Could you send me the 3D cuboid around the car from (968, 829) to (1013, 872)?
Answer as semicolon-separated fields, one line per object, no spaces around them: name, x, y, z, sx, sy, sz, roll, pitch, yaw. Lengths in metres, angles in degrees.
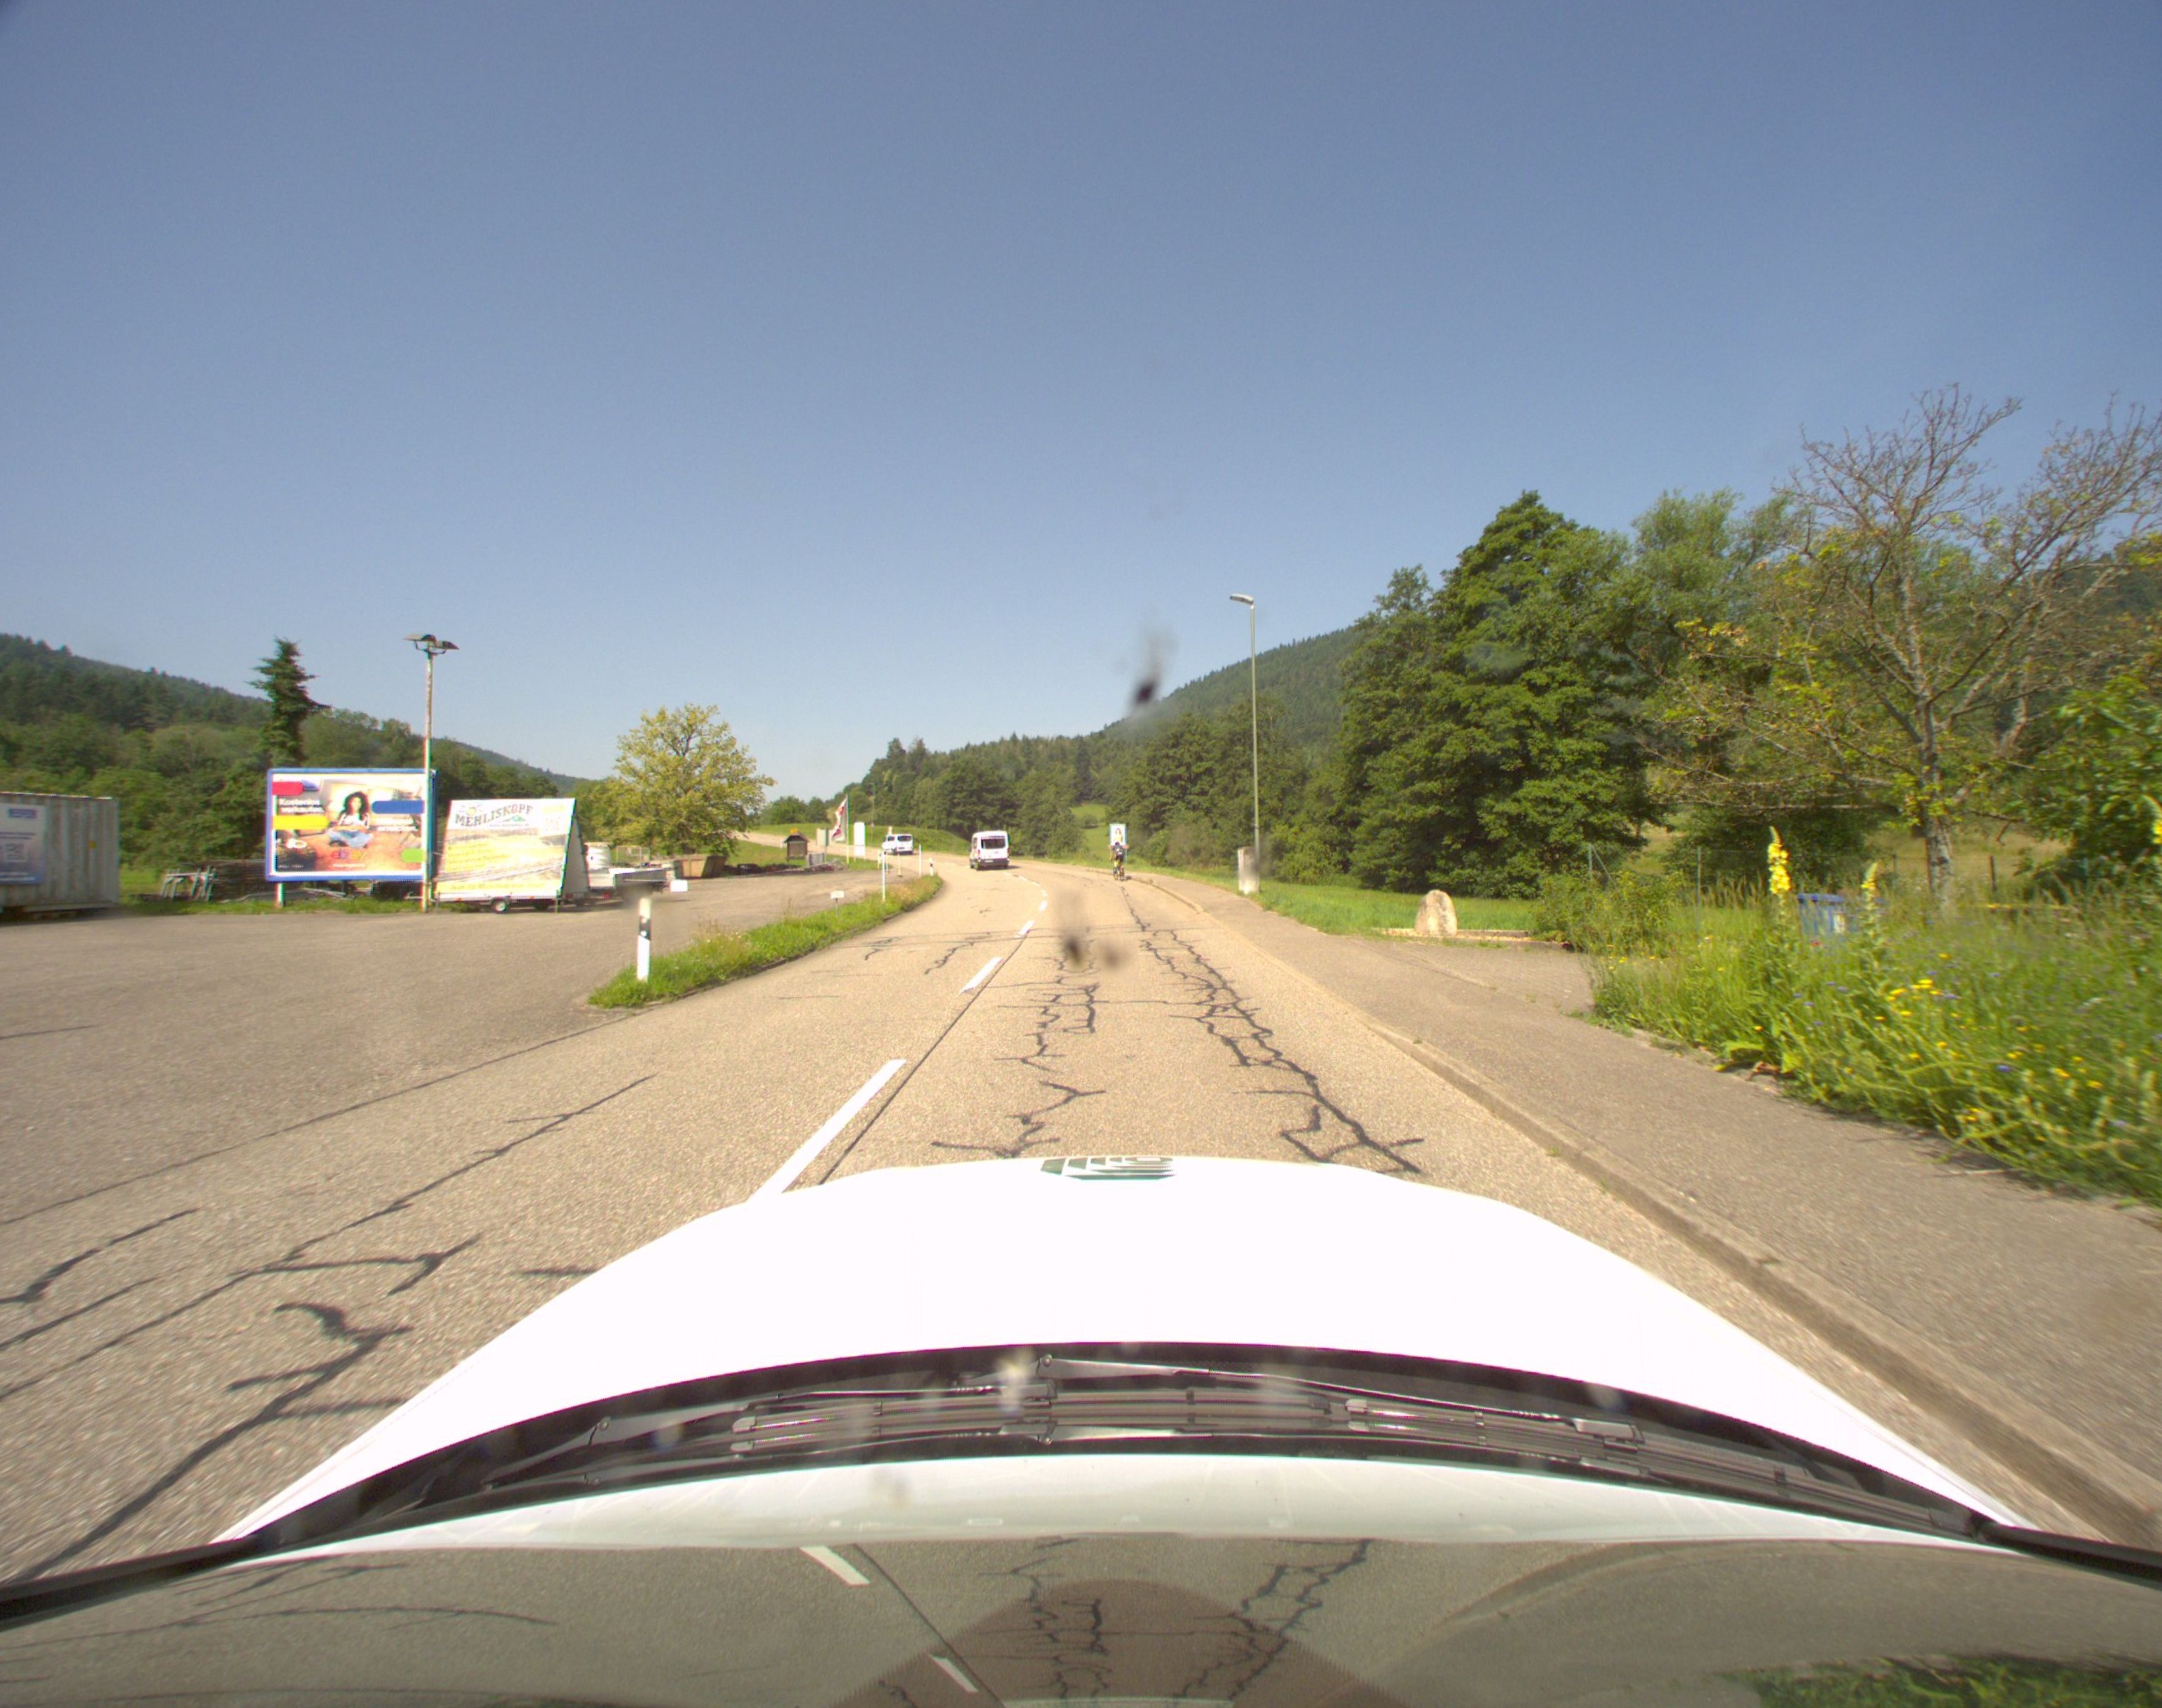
car;-5.980;-0.303;53.225;2.226;2.525;4.962;-4;2;-14

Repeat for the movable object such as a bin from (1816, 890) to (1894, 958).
movable object such as a bin;13.369;1.189;14.087;0.567;1.118;0.796;1;-1;-8

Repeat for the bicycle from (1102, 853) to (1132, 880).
bicycle;1.511;0.516;34.352;0.581;1.035;1.979;-4;2;-17

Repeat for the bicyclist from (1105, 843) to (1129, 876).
bicyclist;1.498;0.232;34.319;0.581;1.342;1.138;-4;2;-17

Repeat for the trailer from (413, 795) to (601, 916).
trailer;-14.495;0.042;20.753;3.387;2.912;1.880;0;0;-6

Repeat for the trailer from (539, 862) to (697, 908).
trailer;-14.197;0.891;25.456;1.989;1.226;5.539;0;0;-3

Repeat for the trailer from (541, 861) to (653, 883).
trailer;-21.985;0.821;37.133;3.921;0.939;1.866;0;-1;-2

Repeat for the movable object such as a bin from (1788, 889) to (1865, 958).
movable object such as a bin;12.786;1.180;13.989;0.567;1.118;0.791;1;-1;-8

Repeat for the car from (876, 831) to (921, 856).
car;-17.718;-0.990;78.841;2.241;2.286;4.927;-5;3;-38
